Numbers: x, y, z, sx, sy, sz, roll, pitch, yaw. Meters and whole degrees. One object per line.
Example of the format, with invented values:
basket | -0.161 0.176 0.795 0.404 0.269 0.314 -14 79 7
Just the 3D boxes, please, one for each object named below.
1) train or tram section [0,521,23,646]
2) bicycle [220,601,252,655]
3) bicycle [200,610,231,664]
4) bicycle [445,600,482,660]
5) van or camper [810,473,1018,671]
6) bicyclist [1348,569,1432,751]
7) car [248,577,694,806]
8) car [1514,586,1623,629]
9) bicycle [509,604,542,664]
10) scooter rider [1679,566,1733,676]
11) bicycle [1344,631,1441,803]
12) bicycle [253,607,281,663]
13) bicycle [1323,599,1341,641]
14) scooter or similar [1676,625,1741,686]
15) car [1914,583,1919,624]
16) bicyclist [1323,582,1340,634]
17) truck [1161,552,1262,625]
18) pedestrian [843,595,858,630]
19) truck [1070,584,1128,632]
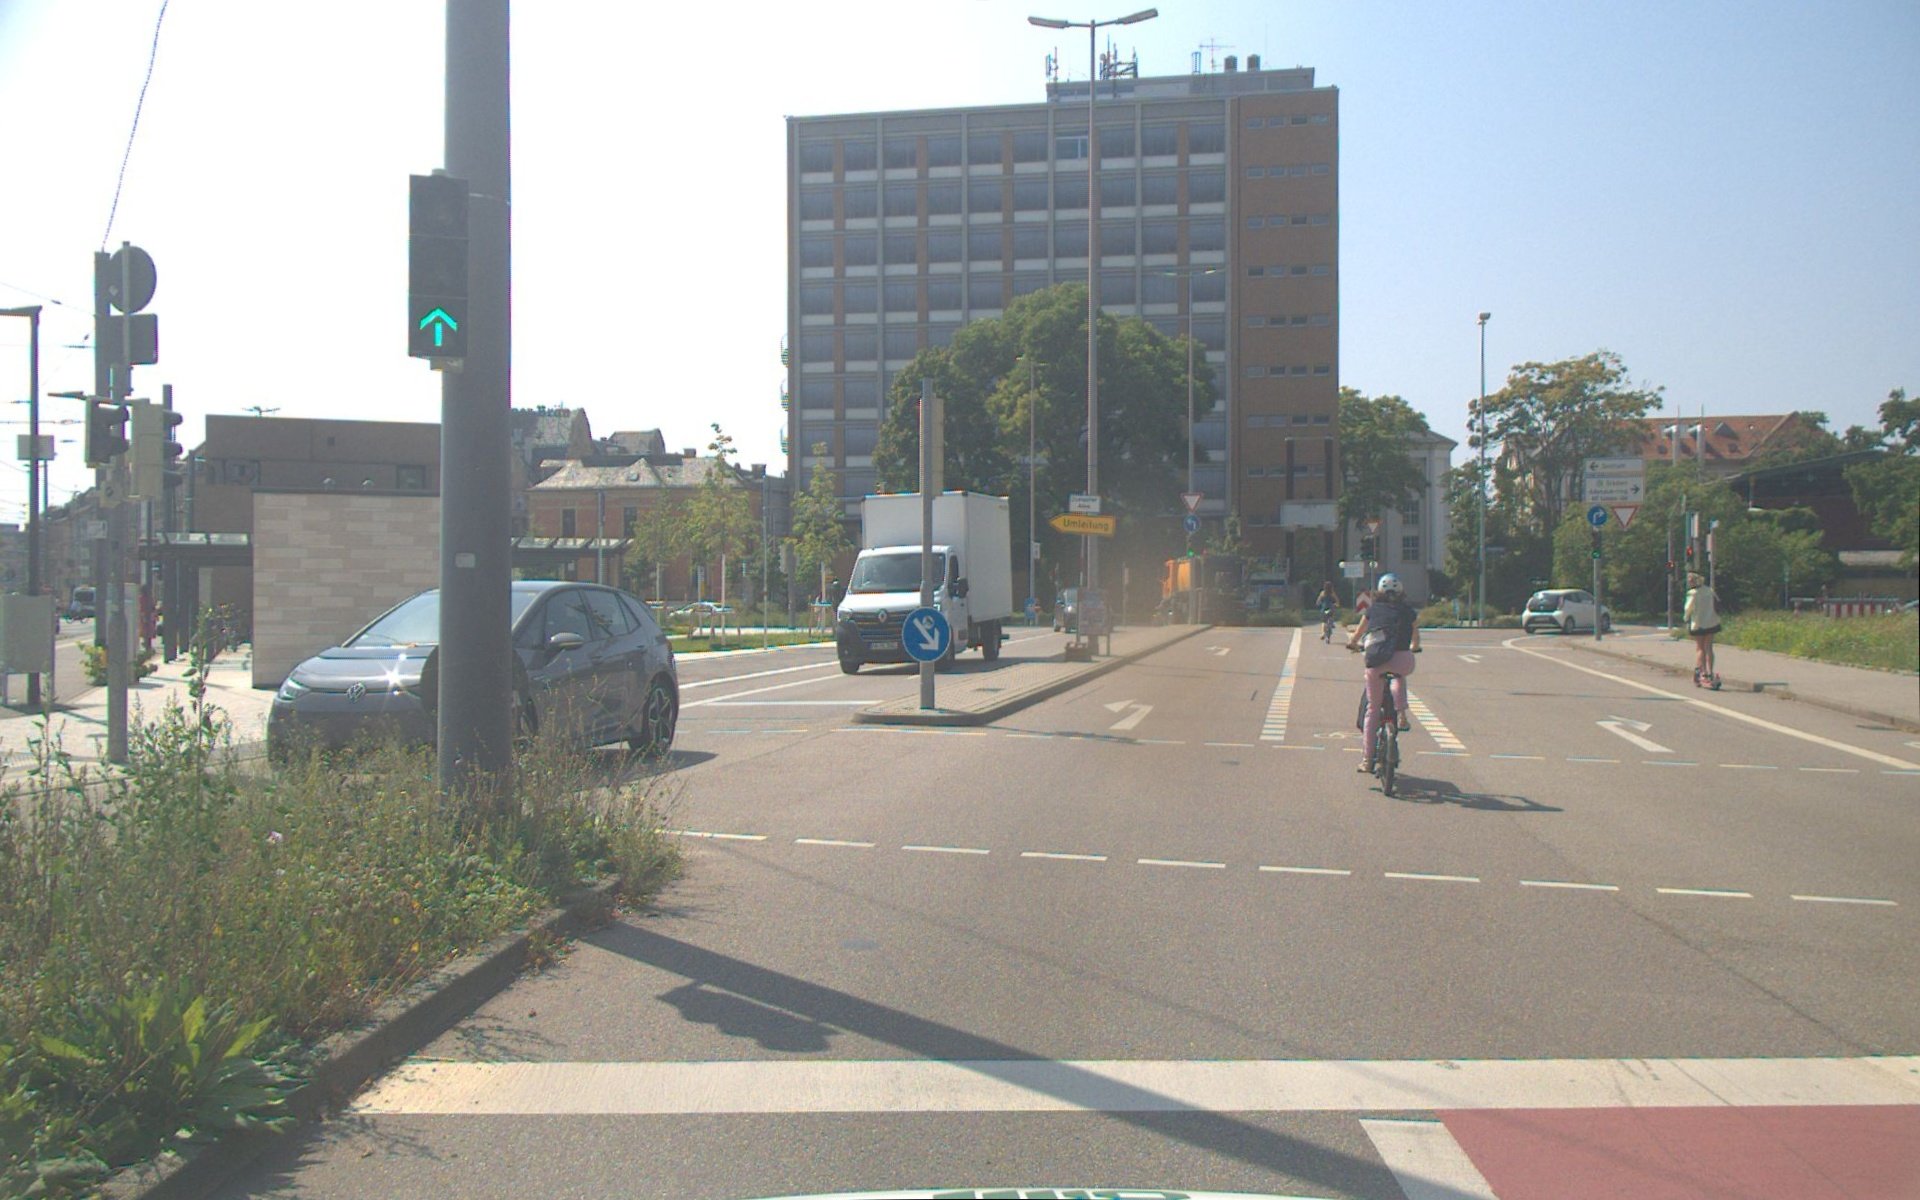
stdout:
train or tram section | -31.450 -0.541 50.081 2.846 4.139 19.011 0 0 -22
bicycle | -17.630 0.662 40.295 0.597 1.275 2.605 0 0 -21
bicycle | -14.865 0.726 33.032 0.457 1.051 1.538 0 0 -21
bicycle | -10.534 0.625 35.118 0.593 1.232 1.805 0 0 -12
van or camper | -0.682 -0.492 31.848 2.348 3.364 7.196 0 0 12
bicyclist | 3.288 0.445 12.686 0.590 1.358 0.660 0 0 12
car | -3.725 0.614 13.451 1.660 1.557 4.187 0 0 12
car | 20.911 0.247 56.777 3.963 1.416 1.821 -1 0 -40
bicycle | -9.257 0.705 35.270 0.593 1.232 1.805 0 0 -12
scooter rider | 12.481 0.344 27.678 0.746 1.806 0.555 0 0 16
bicycle | 3.302 0.852 12.726 0.591 1.183 1.812 0 0 11
bicycle | -14.331 0.718 34.219 0.457 1.120 1.414 0 0 -21
bicycle | 10.368 0.544 46.134 0.434 1.136 1.447 -1 0 11
scooter or similar | 12.462 0.905 27.583 0.756 0.943 1.621 0 0 16
car | 39.532 0.120 64.263 3.902 1.592 1.825 0 0 14
bicyclist | 10.392 0.211 46.246 0.440 1.446 0.496 -1 0 11
truck | 11.006 -0.480 72.895 2.647 3.042 5.952 0 0 -10
pedestrian | -4.994 0.571 75.346 0.525 1.579 0.412 -1 0 -34
truck | 4.605 0.243 54.537 1.521 1.530 3.624 -1 0 11
